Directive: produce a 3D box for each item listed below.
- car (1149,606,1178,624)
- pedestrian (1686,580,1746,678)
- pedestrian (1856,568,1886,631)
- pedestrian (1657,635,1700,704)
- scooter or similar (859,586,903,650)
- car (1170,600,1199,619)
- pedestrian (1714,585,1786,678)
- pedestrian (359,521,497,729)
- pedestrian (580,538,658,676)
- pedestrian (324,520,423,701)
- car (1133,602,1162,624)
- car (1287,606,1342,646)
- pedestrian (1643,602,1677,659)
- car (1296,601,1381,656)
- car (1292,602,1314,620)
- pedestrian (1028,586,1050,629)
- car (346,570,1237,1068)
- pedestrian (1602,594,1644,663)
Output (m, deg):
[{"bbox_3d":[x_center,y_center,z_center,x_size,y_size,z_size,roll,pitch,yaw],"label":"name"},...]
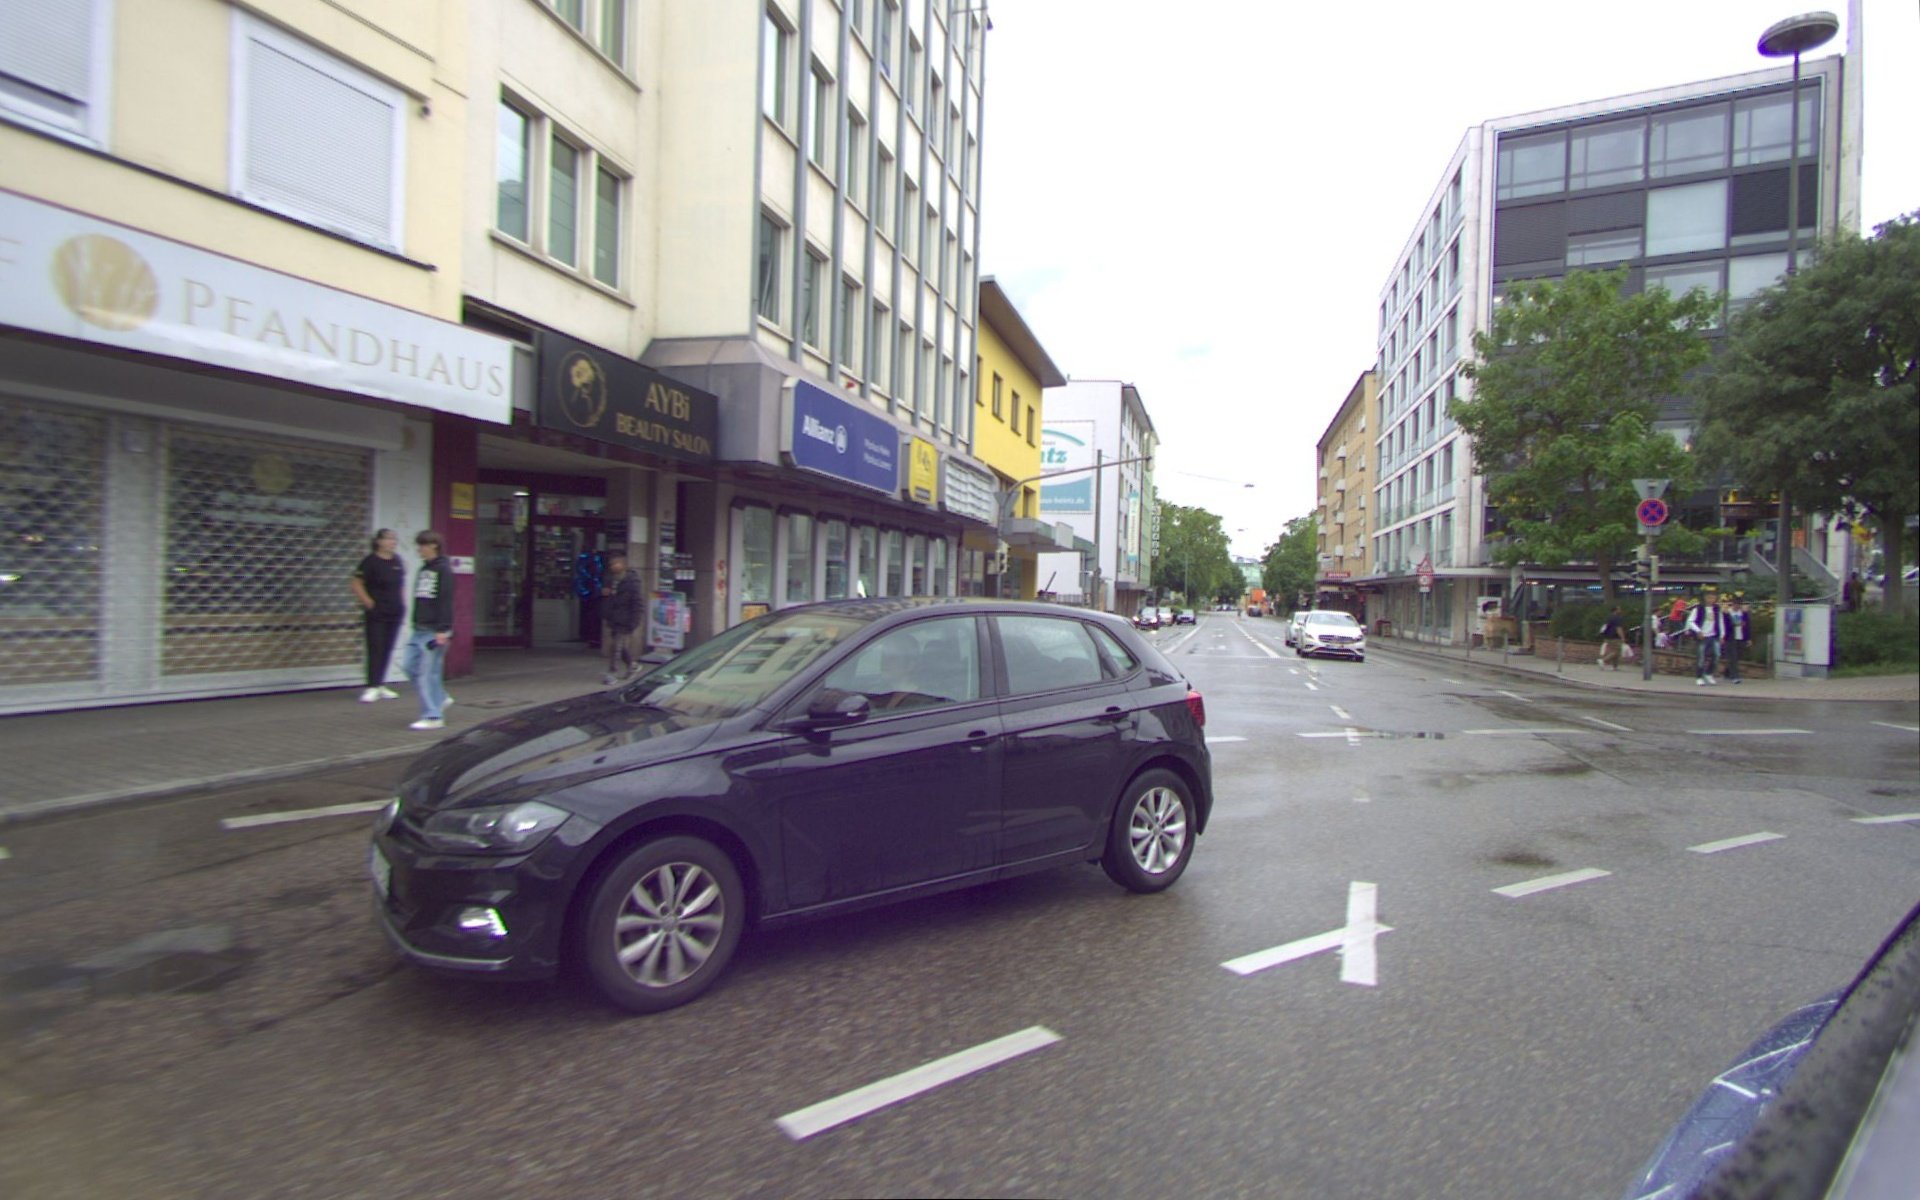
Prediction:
[{"bbox_3d":[17.676,1.286,88.080,1.964,1.472,3.995,0,-1,4],"label":"car"},{"bbox_3d":[15.092,0.580,20.219,0.585,1.898,0.784,-5,-3,19],"label":"pedestrian"},{"bbox_3d":[26.826,-0.011,29.794,0.591,1.837,0.693,-2,-2,44],"label":"pedestrian"},{"bbox_3d":[19.552,1.879,27.557,0.778,1.837,0.589,-1,-2,19],"label":"pedestrian"},{"bbox_3d":[-1.759,0.388,22.636,0.374,1.377,1.136,0,1,31],"label":"scooter or similar"},{"bbox_3d":[20.928,0.858,94.507,1.964,1.639,4.121,0,2,4],"label":"car"},{"bbox_3d":[15.854,0.630,20.329,0.773,1.772,0.783,-5,-3,19],"label":"pedestrian"},{"bbox_3d":[-4.889,0.213,9.327,0.828,1.786,0.613,5,0,20],"label":"pedestrian"},{"bbox_3d":[-4.505,0.091,13.367,0.740,1.744,0.752,0,-1,-42],"label":"pedestrian"},{"bbox_3d":[-6.072,0.101,10.483,0.775,1.785,0.616,0,-1,-42],"label":"pedestrian"},{"bbox_3d":[12.834,0.869,69.238,1.759,1.472,3.983,0,-1,13],"label":"car"},{"bbox_3d":[14.278,1.004,40.937,1.784,1.517,3.981,0,0,15],"label":"car"},{"bbox_3d":[19.572,0.849,28.307,0.628,1.552,0.589,-1,-2,19],"label":"pedestrian"},{"bbox_3d":[11.351,0.800,30.612,1.947,1.405,3.981,3,1,15],"label":"car"},{"bbox_3d":[32.231,1.040,95.227,1.804,1.594,3.978,0,0,17],"label":"car"},{"bbox_3d":[3.084,0.280,39.294,0.727,1.666,0.638,-1,0,17],"label":"pedestrian"},{"bbox_3d":[-0.601,0.648,4.800,3.808,1.449,1.742,0,-1,-37],"label":"car"},{"bbox_3d":[17.877,0.775,27.312,0.778,1.837,0.589,-1,-2,19],"label":"pedestrian"}]
